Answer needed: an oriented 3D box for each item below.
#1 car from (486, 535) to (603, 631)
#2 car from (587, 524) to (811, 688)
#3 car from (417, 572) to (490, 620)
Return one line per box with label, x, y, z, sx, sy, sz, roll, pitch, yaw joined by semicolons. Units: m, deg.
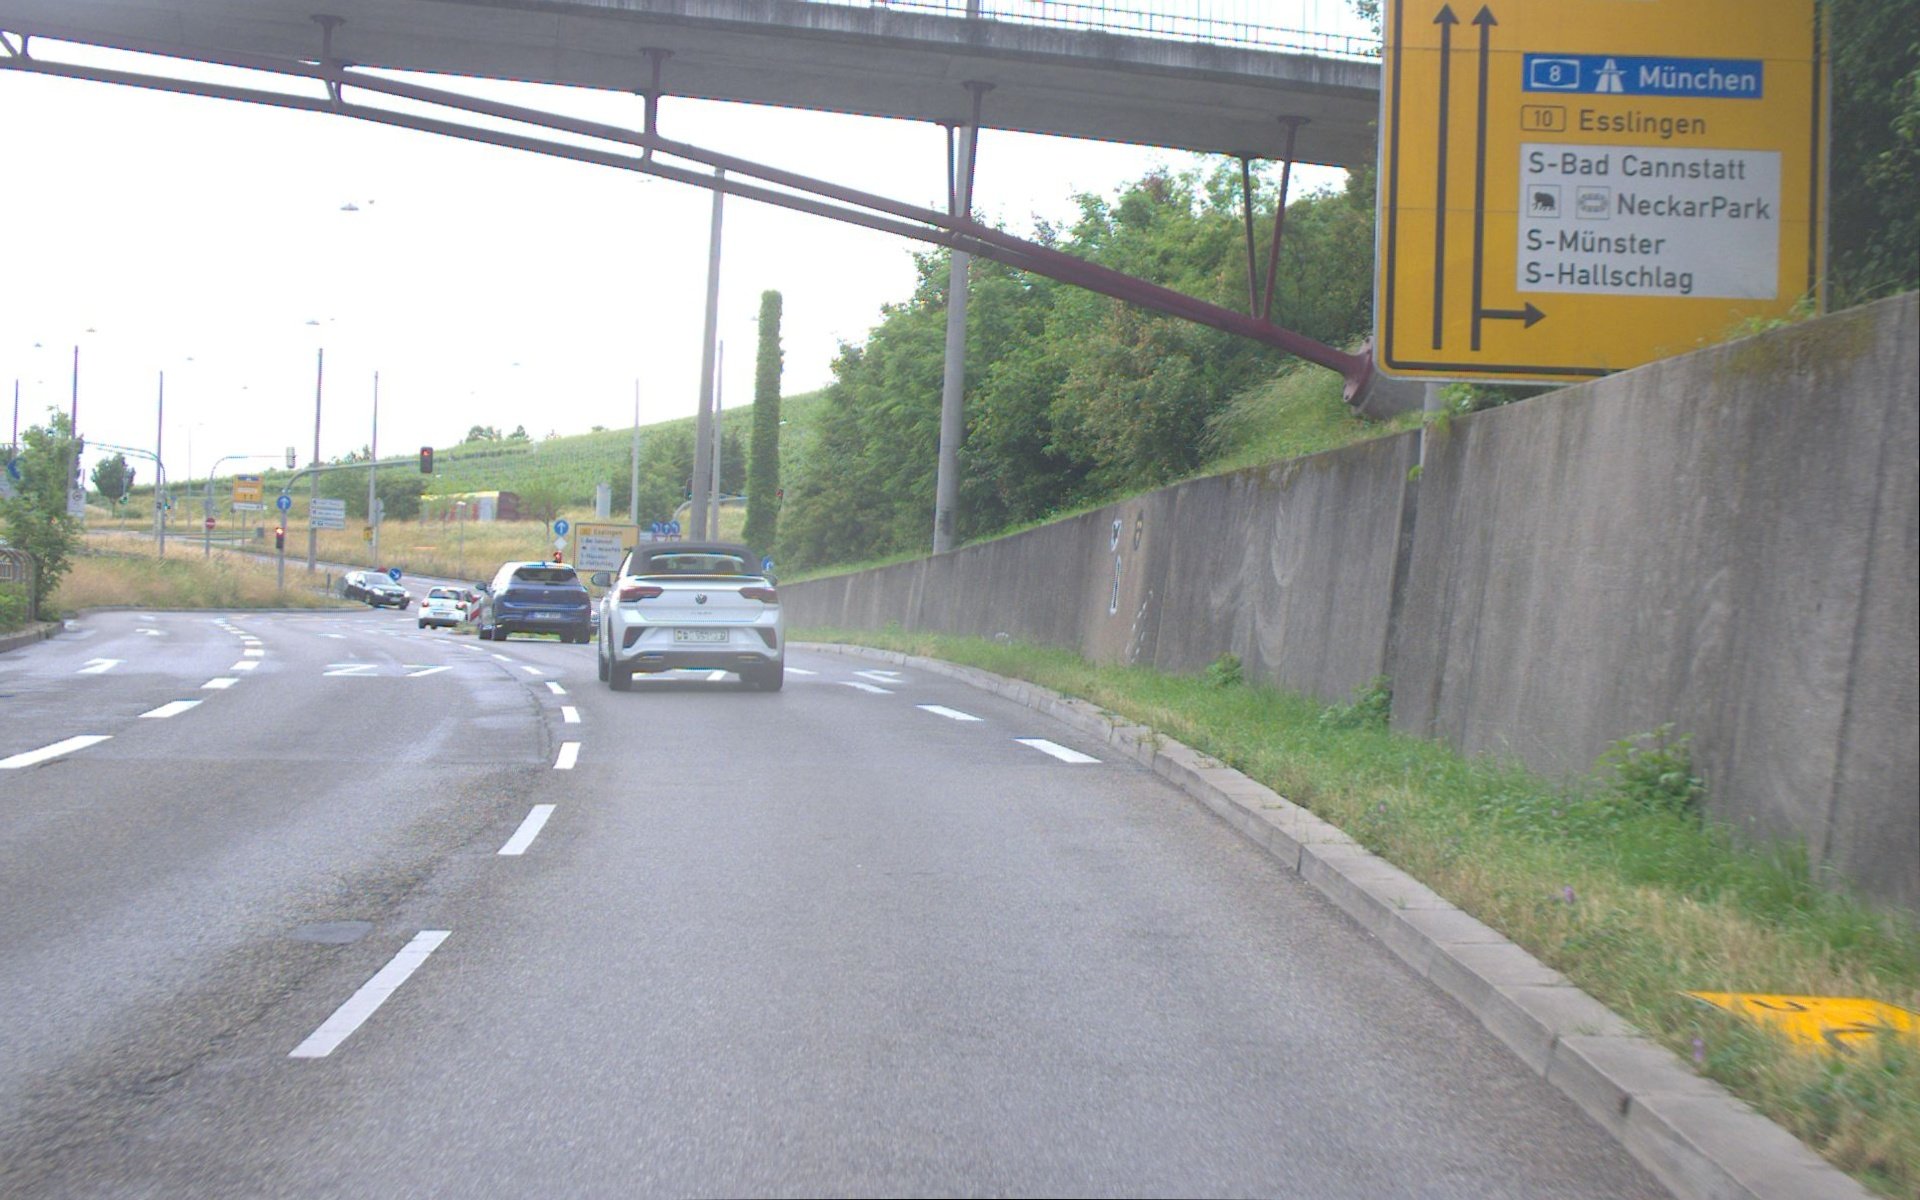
car;-7.680;-0.281;63.281;1.926;1.594;4.062;3;-1;-9
car;-2.809;0.012;36.240;1.995;1.573;4.127;0;2;-9
car;-17.918;-0.119;121.777;1.775;1.514;3.724;4;-1;2
